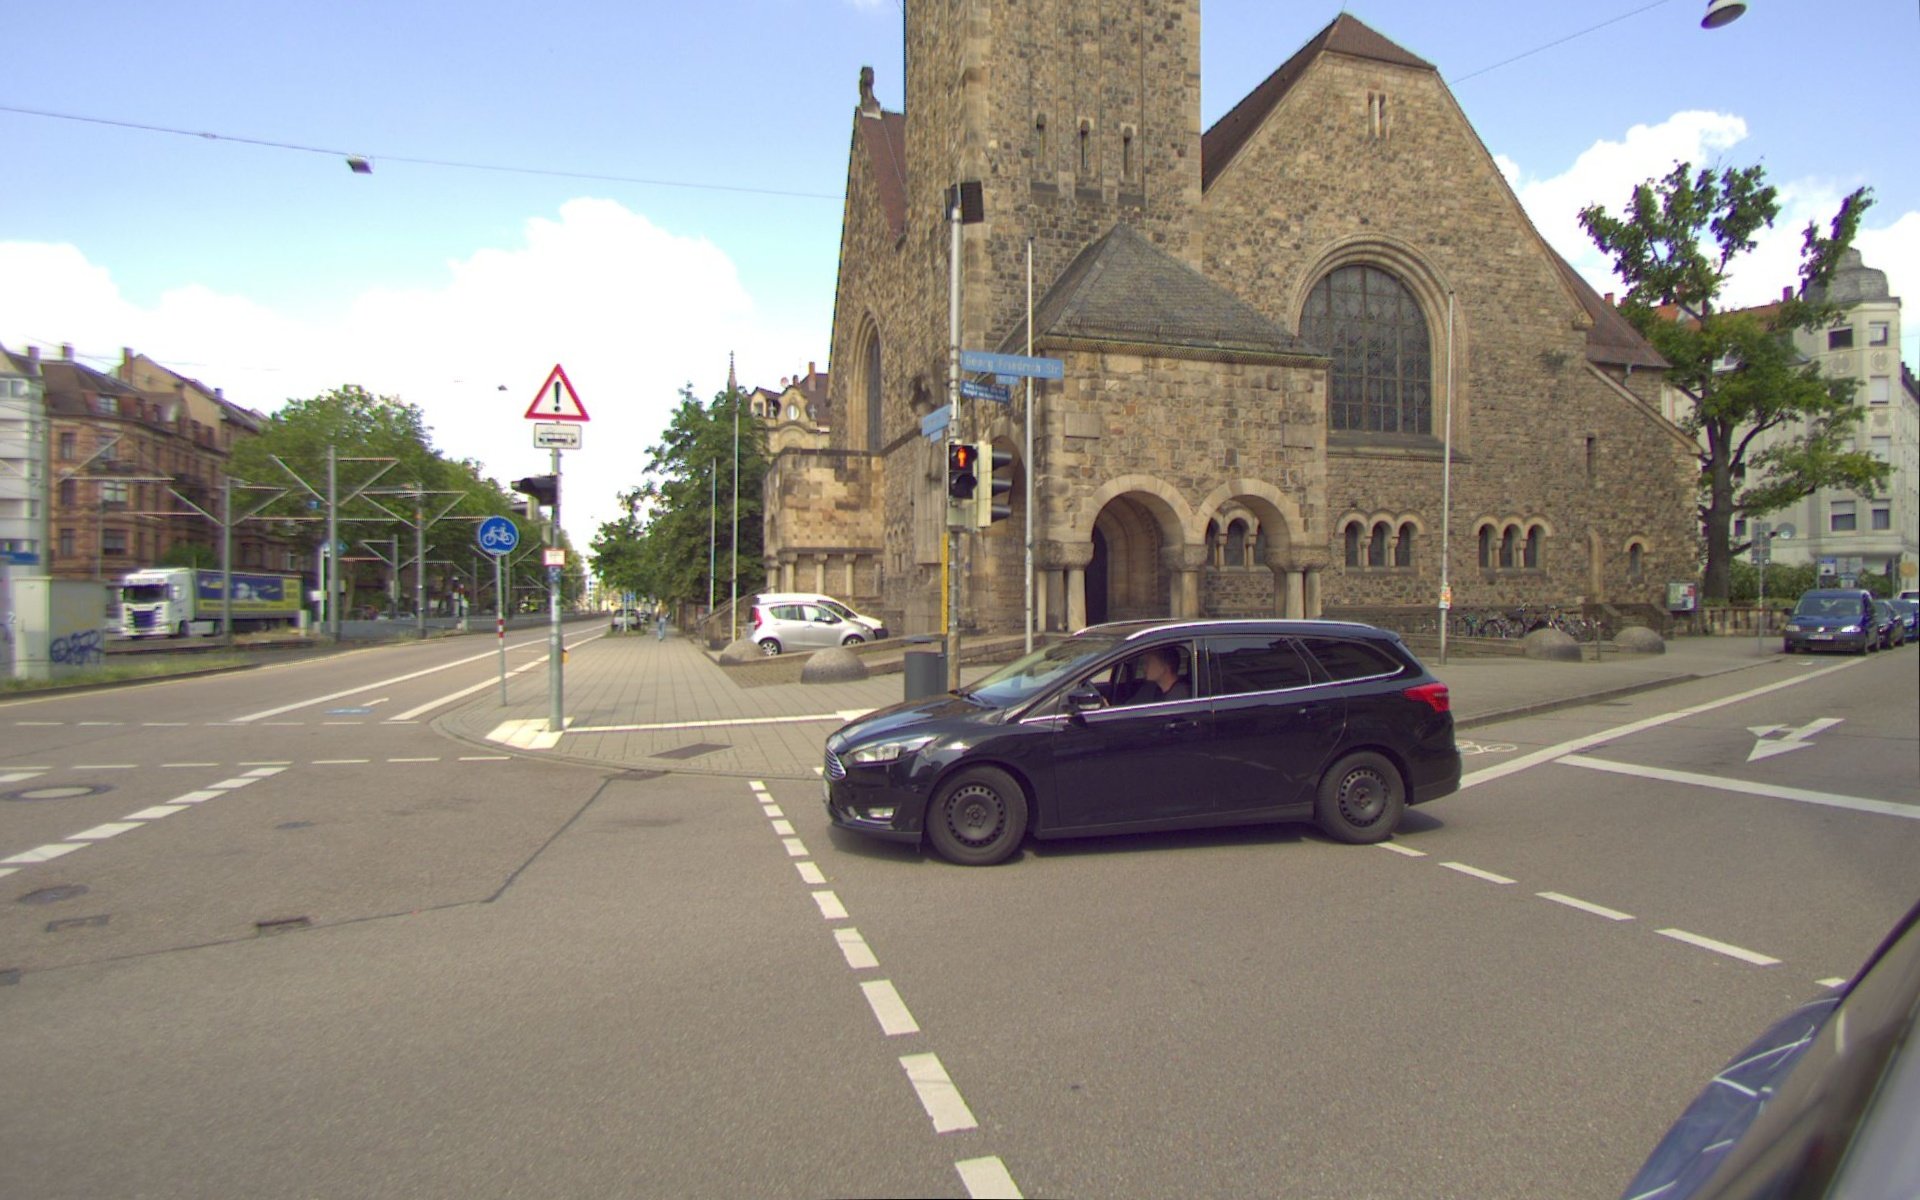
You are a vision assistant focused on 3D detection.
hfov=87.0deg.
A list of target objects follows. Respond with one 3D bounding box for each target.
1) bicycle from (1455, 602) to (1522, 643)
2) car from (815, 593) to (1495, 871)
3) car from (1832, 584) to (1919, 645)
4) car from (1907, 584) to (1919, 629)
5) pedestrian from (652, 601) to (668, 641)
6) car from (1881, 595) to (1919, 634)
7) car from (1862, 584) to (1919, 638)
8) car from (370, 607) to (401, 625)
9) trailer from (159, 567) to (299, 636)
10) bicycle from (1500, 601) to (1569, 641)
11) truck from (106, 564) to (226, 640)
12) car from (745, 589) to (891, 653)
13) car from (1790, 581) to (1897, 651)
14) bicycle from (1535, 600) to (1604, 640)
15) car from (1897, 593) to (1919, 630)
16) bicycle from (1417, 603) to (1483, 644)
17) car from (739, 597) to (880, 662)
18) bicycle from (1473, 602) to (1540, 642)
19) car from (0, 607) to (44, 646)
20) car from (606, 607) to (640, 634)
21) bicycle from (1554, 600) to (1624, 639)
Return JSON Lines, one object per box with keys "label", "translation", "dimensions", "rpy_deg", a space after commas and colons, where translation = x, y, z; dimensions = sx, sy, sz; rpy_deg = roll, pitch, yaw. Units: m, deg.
{"label": "bicycle", "translation": [16.307, 0.669, 31.266], "dimensions": [0.574, 1.126, 1.944], "rpy_deg": [-1, 3, -20]}
{"label": "car", "translation": [1.228, 0.758, 7.090], "dimensions": [4.294, 1.554, 1.788], "rpy_deg": [0, -1, -13]}
{"label": "car", "translation": [28.851, 0.428, 31.749], "dimensions": [3.929, 1.814, 1.681], "rpy_deg": [0, -1, -40]}
{"label": "car", "translation": [44.038, 0.273, 45.375], "dimensions": [4.112, 1.963, 1.843], "rpy_deg": [0, -1, -40]}
{"label": "pedestrian", "translation": [-13.083, 0.912, 44.143], "dimensions": [0.645, 1.686, 0.847], "rpy_deg": [0, -1, -14]}
{"label": "car", "translation": [36.925, 0.541, 38.957], "dimensions": [3.731, 1.465, 1.681], "rpy_deg": [0, -1, -40]}
{"label": "car", "translation": [33.417, 0.365, 35.830], "dimensions": [3.929, 1.814, 1.681], "rpy_deg": [0, -1, -40]}
{"label": "car", "translation": [-57.334, 1.594, 100.980], "dimensions": [1.766, 1.651, 4.008], "rpy_deg": [-1, 0, -16]}
{"label": "trailer", "translation": [-47.862, 0.077, 66.833], "dimensions": [2.857, 4.129, 11.671], "rpy_deg": [-1, 0, -11]}
{"label": "bicycle", "translation": [17.944, 0.645, 31.659], "dimensions": [0.574, 1.126, 1.944], "rpy_deg": [-1, 3, -20]}
{"label": "truck", "translation": [-46.448, 0.106, 59.492], "dimensions": [2.857, 4.202, 6.602], "rpy_deg": [-1, 0, -11]}
{"label": "car", "translation": [-4.436, 0.687, 31.499], "dimensions": [4.214, 1.878, 2.003], "rpy_deg": [1, -2, -17]}
{"label": "car", "translation": [24.817, 0.421, 28.388], "dimensions": [4.072, 1.814, 1.681], "rpy_deg": [0, -1, -40]}
{"label": "bicycle", "translation": [19.366, 0.623, 32.209], "dimensions": [0.574, 1.126, 1.944], "rpy_deg": [-1, 3, -20]}
{"label": "car", "translation": [40.785, 0.471, 42.462], "dimensions": [3.822, 1.515, 1.681], "rpy_deg": [0, -1, -40]}
{"label": "bicycle", "translation": [14.860, 0.691, 30.729], "dimensions": [0.574, 1.126, 1.944], "rpy_deg": [-1, 3, -20]}
{"label": "car", "translation": [-4.165, 0.836, 27.952], "dimensions": [3.561, 1.700, 1.822], "rpy_deg": [1, -2, -19]}
{"label": "bicycle", "translation": [16.974, 0.659, 31.487], "dimensions": [0.574, 1.126, 1.944], "rpy_deg": [-1, 3, -20]}
{"label": "car", "translation": [-42.928, 1.161, 44.798], "dimensions": [1.815, 1.727, 4.142], "rpy_deg": [0, 0, -15]}
{"label": "car", "translation": [-19.797, 1.188, 59.594], "dimensions": [1.752, 1.514, 3.844], "rpy_deg": [-1, -1, -16]}
{"label": "bicycle", "translation": [20.123, 0.612, 32.428], "dimensions": [0.574, 1.126, 1.944], "rpy_deg": [-1, 3, -20]}
